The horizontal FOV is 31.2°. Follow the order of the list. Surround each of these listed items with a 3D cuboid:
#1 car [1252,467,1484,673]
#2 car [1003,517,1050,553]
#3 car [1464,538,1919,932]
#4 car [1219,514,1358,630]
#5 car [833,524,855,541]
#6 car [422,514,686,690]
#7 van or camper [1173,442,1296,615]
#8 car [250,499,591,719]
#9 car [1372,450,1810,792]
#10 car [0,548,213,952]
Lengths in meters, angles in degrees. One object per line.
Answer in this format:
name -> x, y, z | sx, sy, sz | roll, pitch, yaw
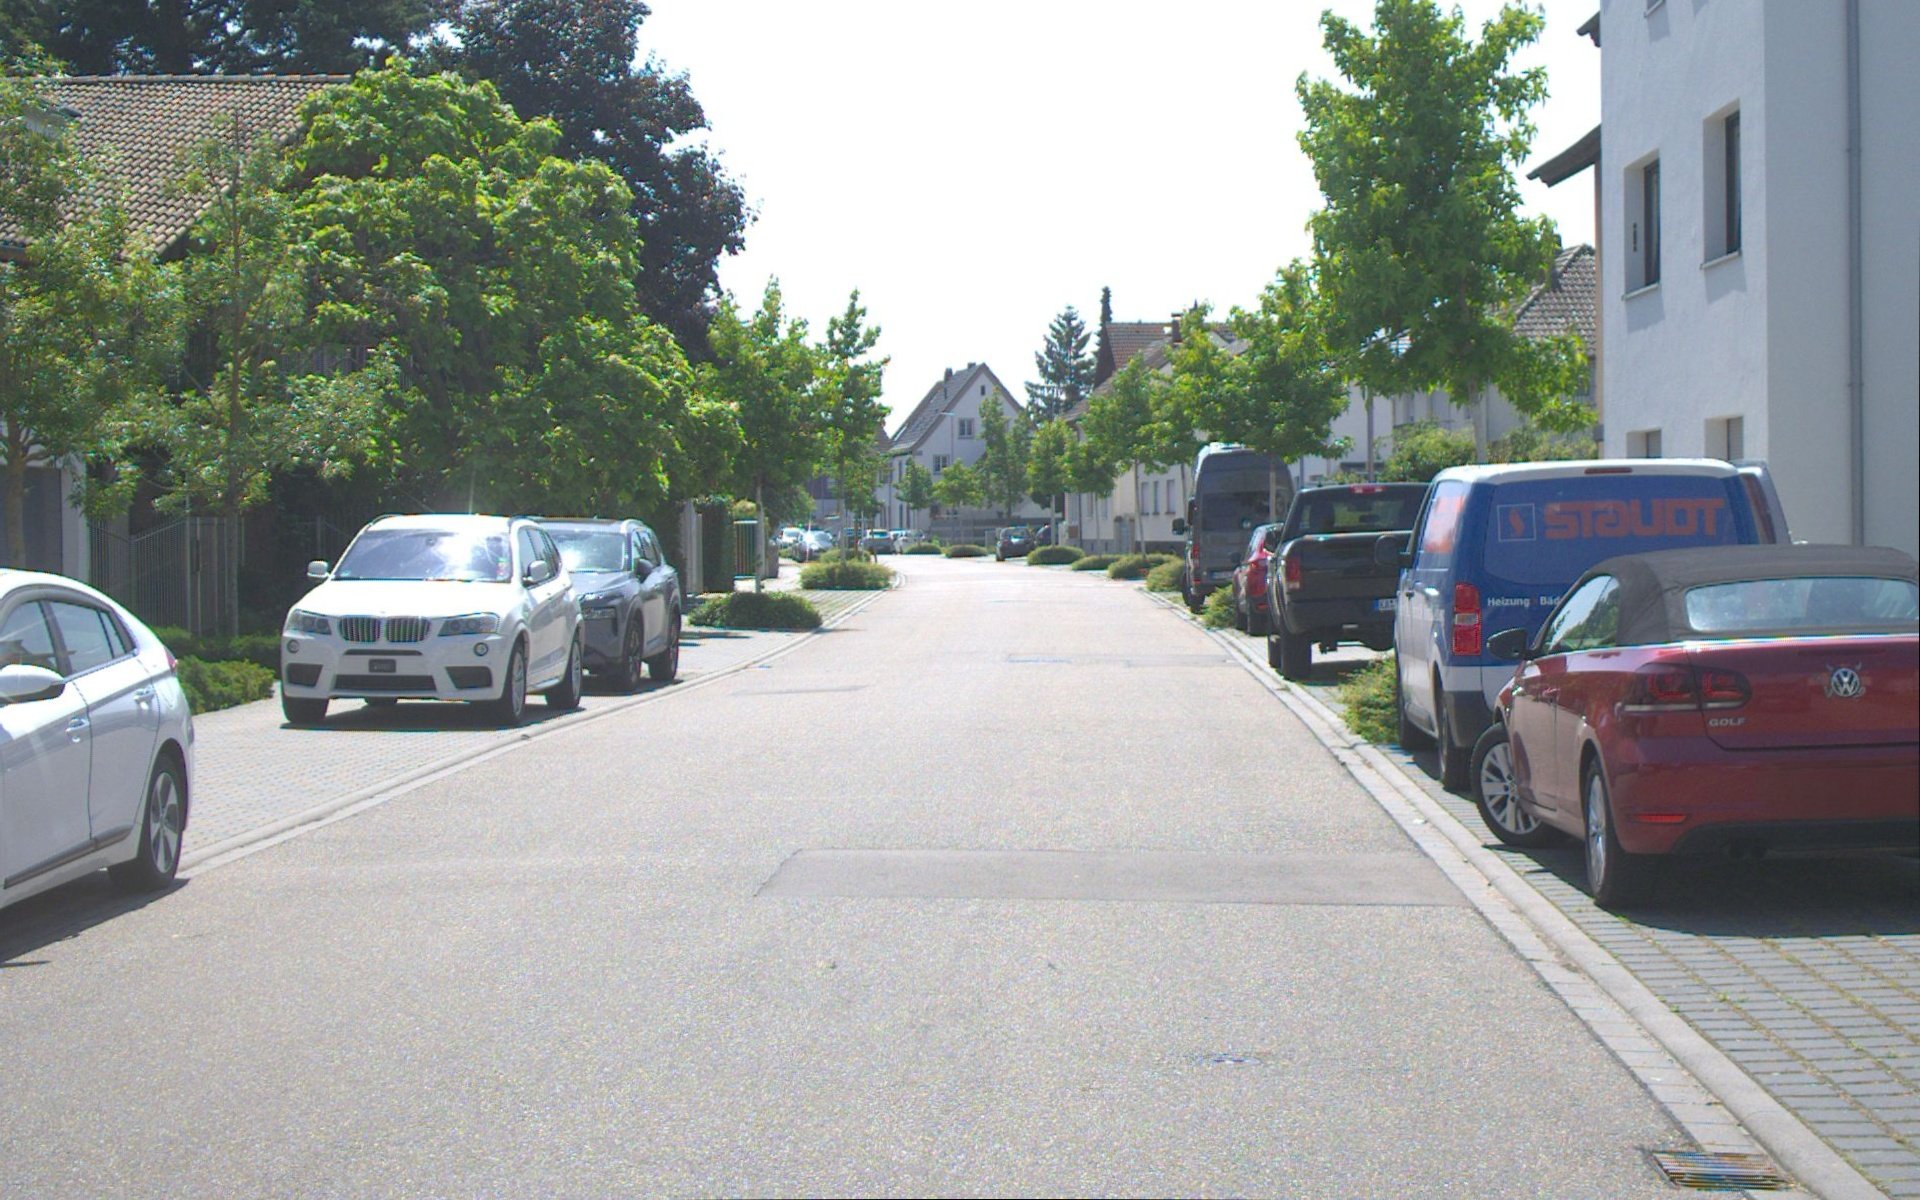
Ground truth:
car -> 4.165, -0.343, 35.826 | 1.994, 1.940, 5.214 | -1, 1, 3
car -> 3.031, -2.932, 155.026 | 1.994, 1.568, 4.000 | -1, 1, 3
car -> 3.302, 0.469, 14.819 | 1.680, 1.437, 4.027 | -1, 1, 0
car -> 4.713, -0.419, 49.746 | 1.670, 1.590, 3.556 | -1, 1, 0
car -> -7.633, -4.441, 225.625 | 1.188, 1.067, 3.054 | -1, 1, -7
car -> -4.049, -0.027, 34.968 | 1.994, 1.674, 4.214 | 0, 1, 3
van or camper -> 4.791, -1.256, 60.449 | 1.994, 2.931, 4.000 | 0, 1, 2
car -> -4.385, 0.022, 28.663 | 1.927, 1.681, 4.498 | 0, 1, 3
car -> 3.768, 0.072, 21.381 | 2.099, 1.875, 4.842 | 0, 1, 4
car -> -4.479, 0.549, 13.684 | 1.852, 1.483, 4.385 | 1, 1, 3
